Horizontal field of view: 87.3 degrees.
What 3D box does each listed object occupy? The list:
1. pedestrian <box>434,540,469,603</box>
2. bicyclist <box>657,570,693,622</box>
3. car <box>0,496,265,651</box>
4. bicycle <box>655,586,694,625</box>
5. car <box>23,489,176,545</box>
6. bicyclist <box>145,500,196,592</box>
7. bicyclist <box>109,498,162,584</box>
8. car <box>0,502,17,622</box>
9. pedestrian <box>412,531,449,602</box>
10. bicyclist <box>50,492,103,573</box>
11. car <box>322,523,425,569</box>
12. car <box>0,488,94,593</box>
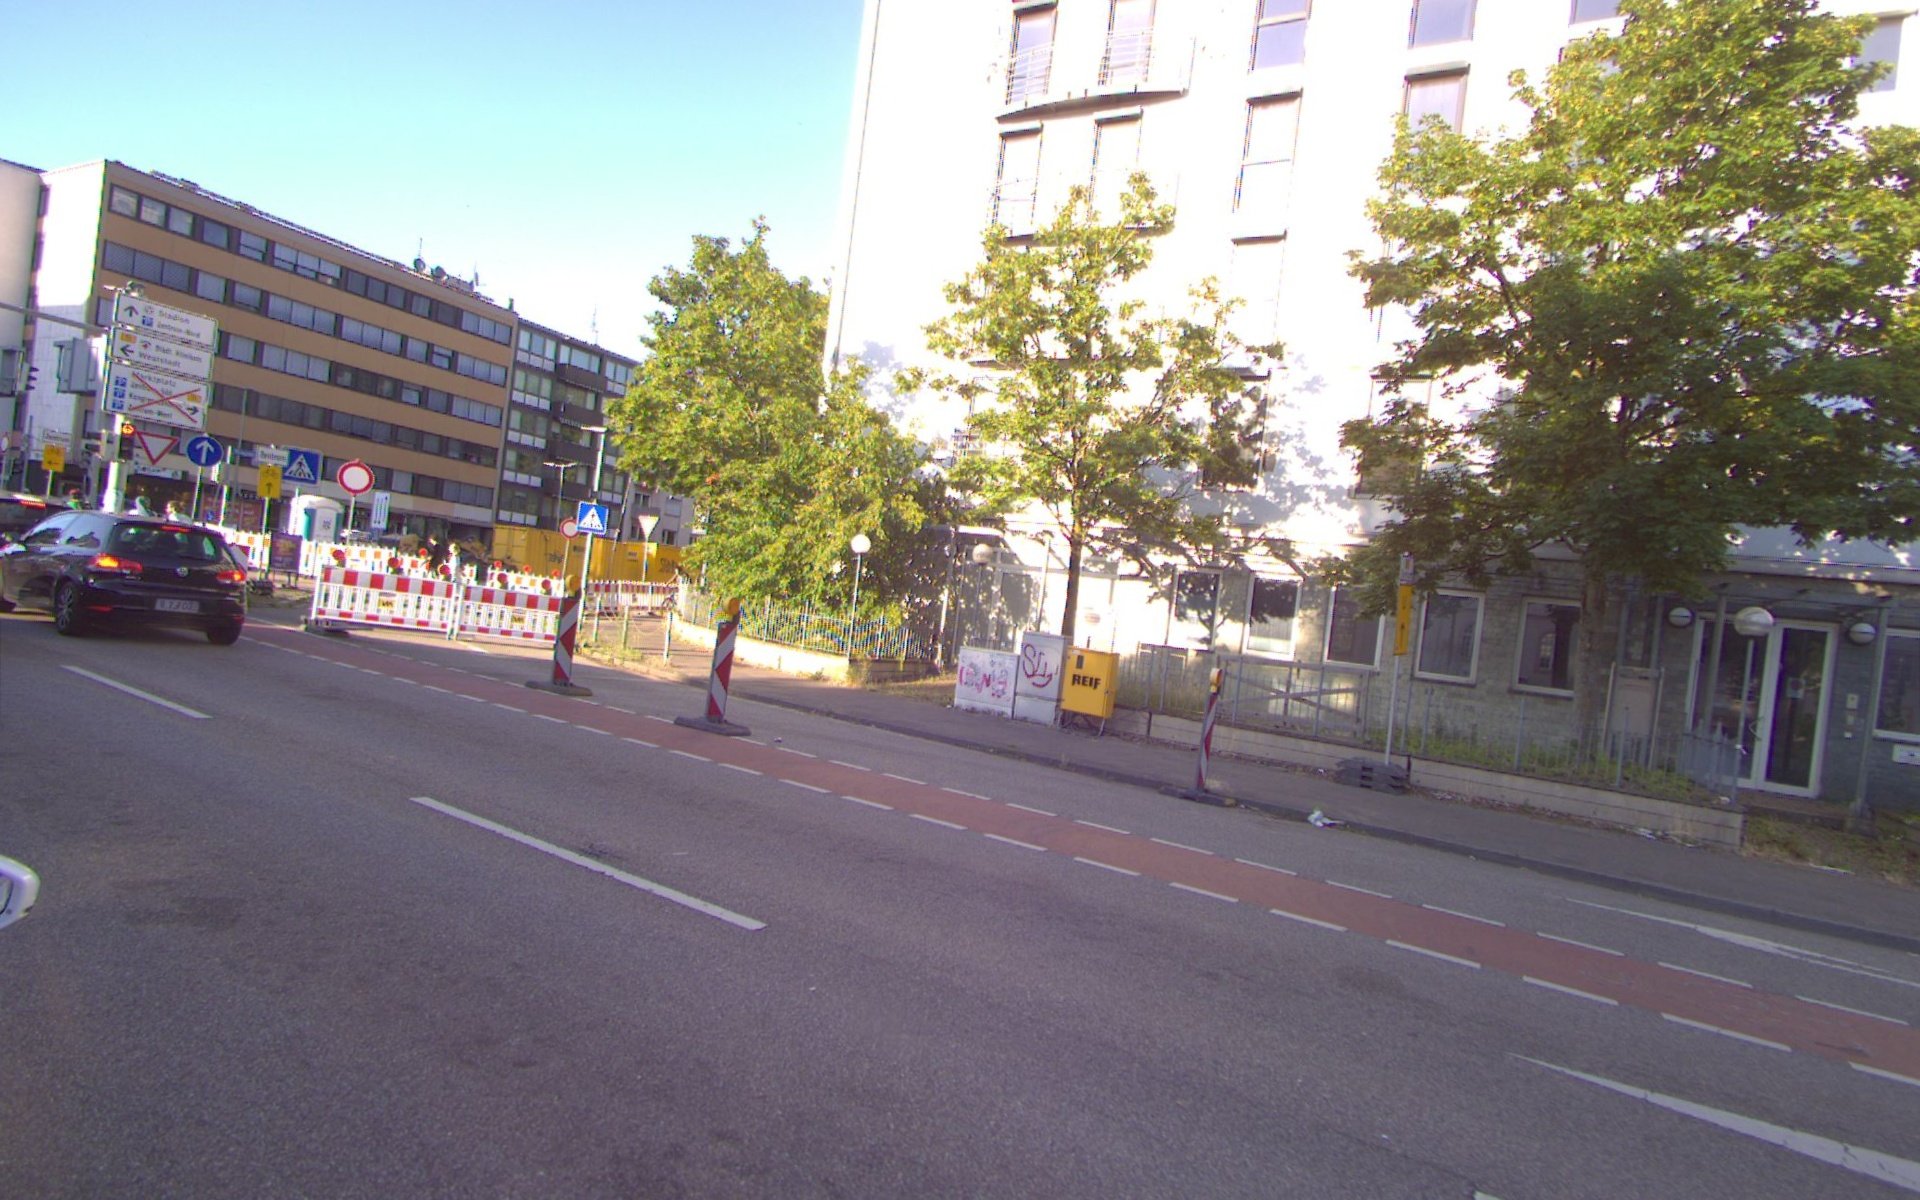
[{"bbox_3d":[-14.076,-0.780,27.863,0.446,1.691,0.604,7,0,5],"label":"pedestrian"},{"bbox_3d":[-9.513,-0.122,33.557,0.608,1.608,0.815,8,0,17],"label":"bicyclist"},{"bbox_3d":[-10.692,-0.362,12.754,3.683,1.466,1.637,7,-2,32],"label":"car"},{"bbox_3d":[-9.519,0.208,33.624,0.366,1.174,1.501,8,-1,16],"label":"bicycle"},{"bbox_3d":[-35.234,-3.359,41.311,1.756,1.568,4.351,7,-1,24],"label":"car"},{"bbox_3d":[-13.884,-0.944,17.698,0.474,1.544,0.441,7,1,32],"label":"bicyclist"},{"bbox_3d":[-15.569,-1.114,18.995,0.713,1.544,0.441,7,1,32],"label":"bicyclist"},{"bbox_3d":[-10.806,-0.453,9.481,4.144,1.437,1.685,7,-2,32],"label":"car"},{"bbox_3d":[-14.249,-0.892,27.085,0.478,1.857,0.571,7,1,2],"label":"pedestrian"},{"bbox_3d":[-18.016,-1.378,20.506,0.713,1.544,0.514,7,1,32],"label":"bicyclist"},{"bbox_3d":[-31.462,-2.884,54.074,1.967,1.839,4.221,7,0,32],"label":"car"},{"bbox_3d":[-15.360,-1.056,15.936,3.250,1.467,1.507,7,0,32],"label":"car"}]
